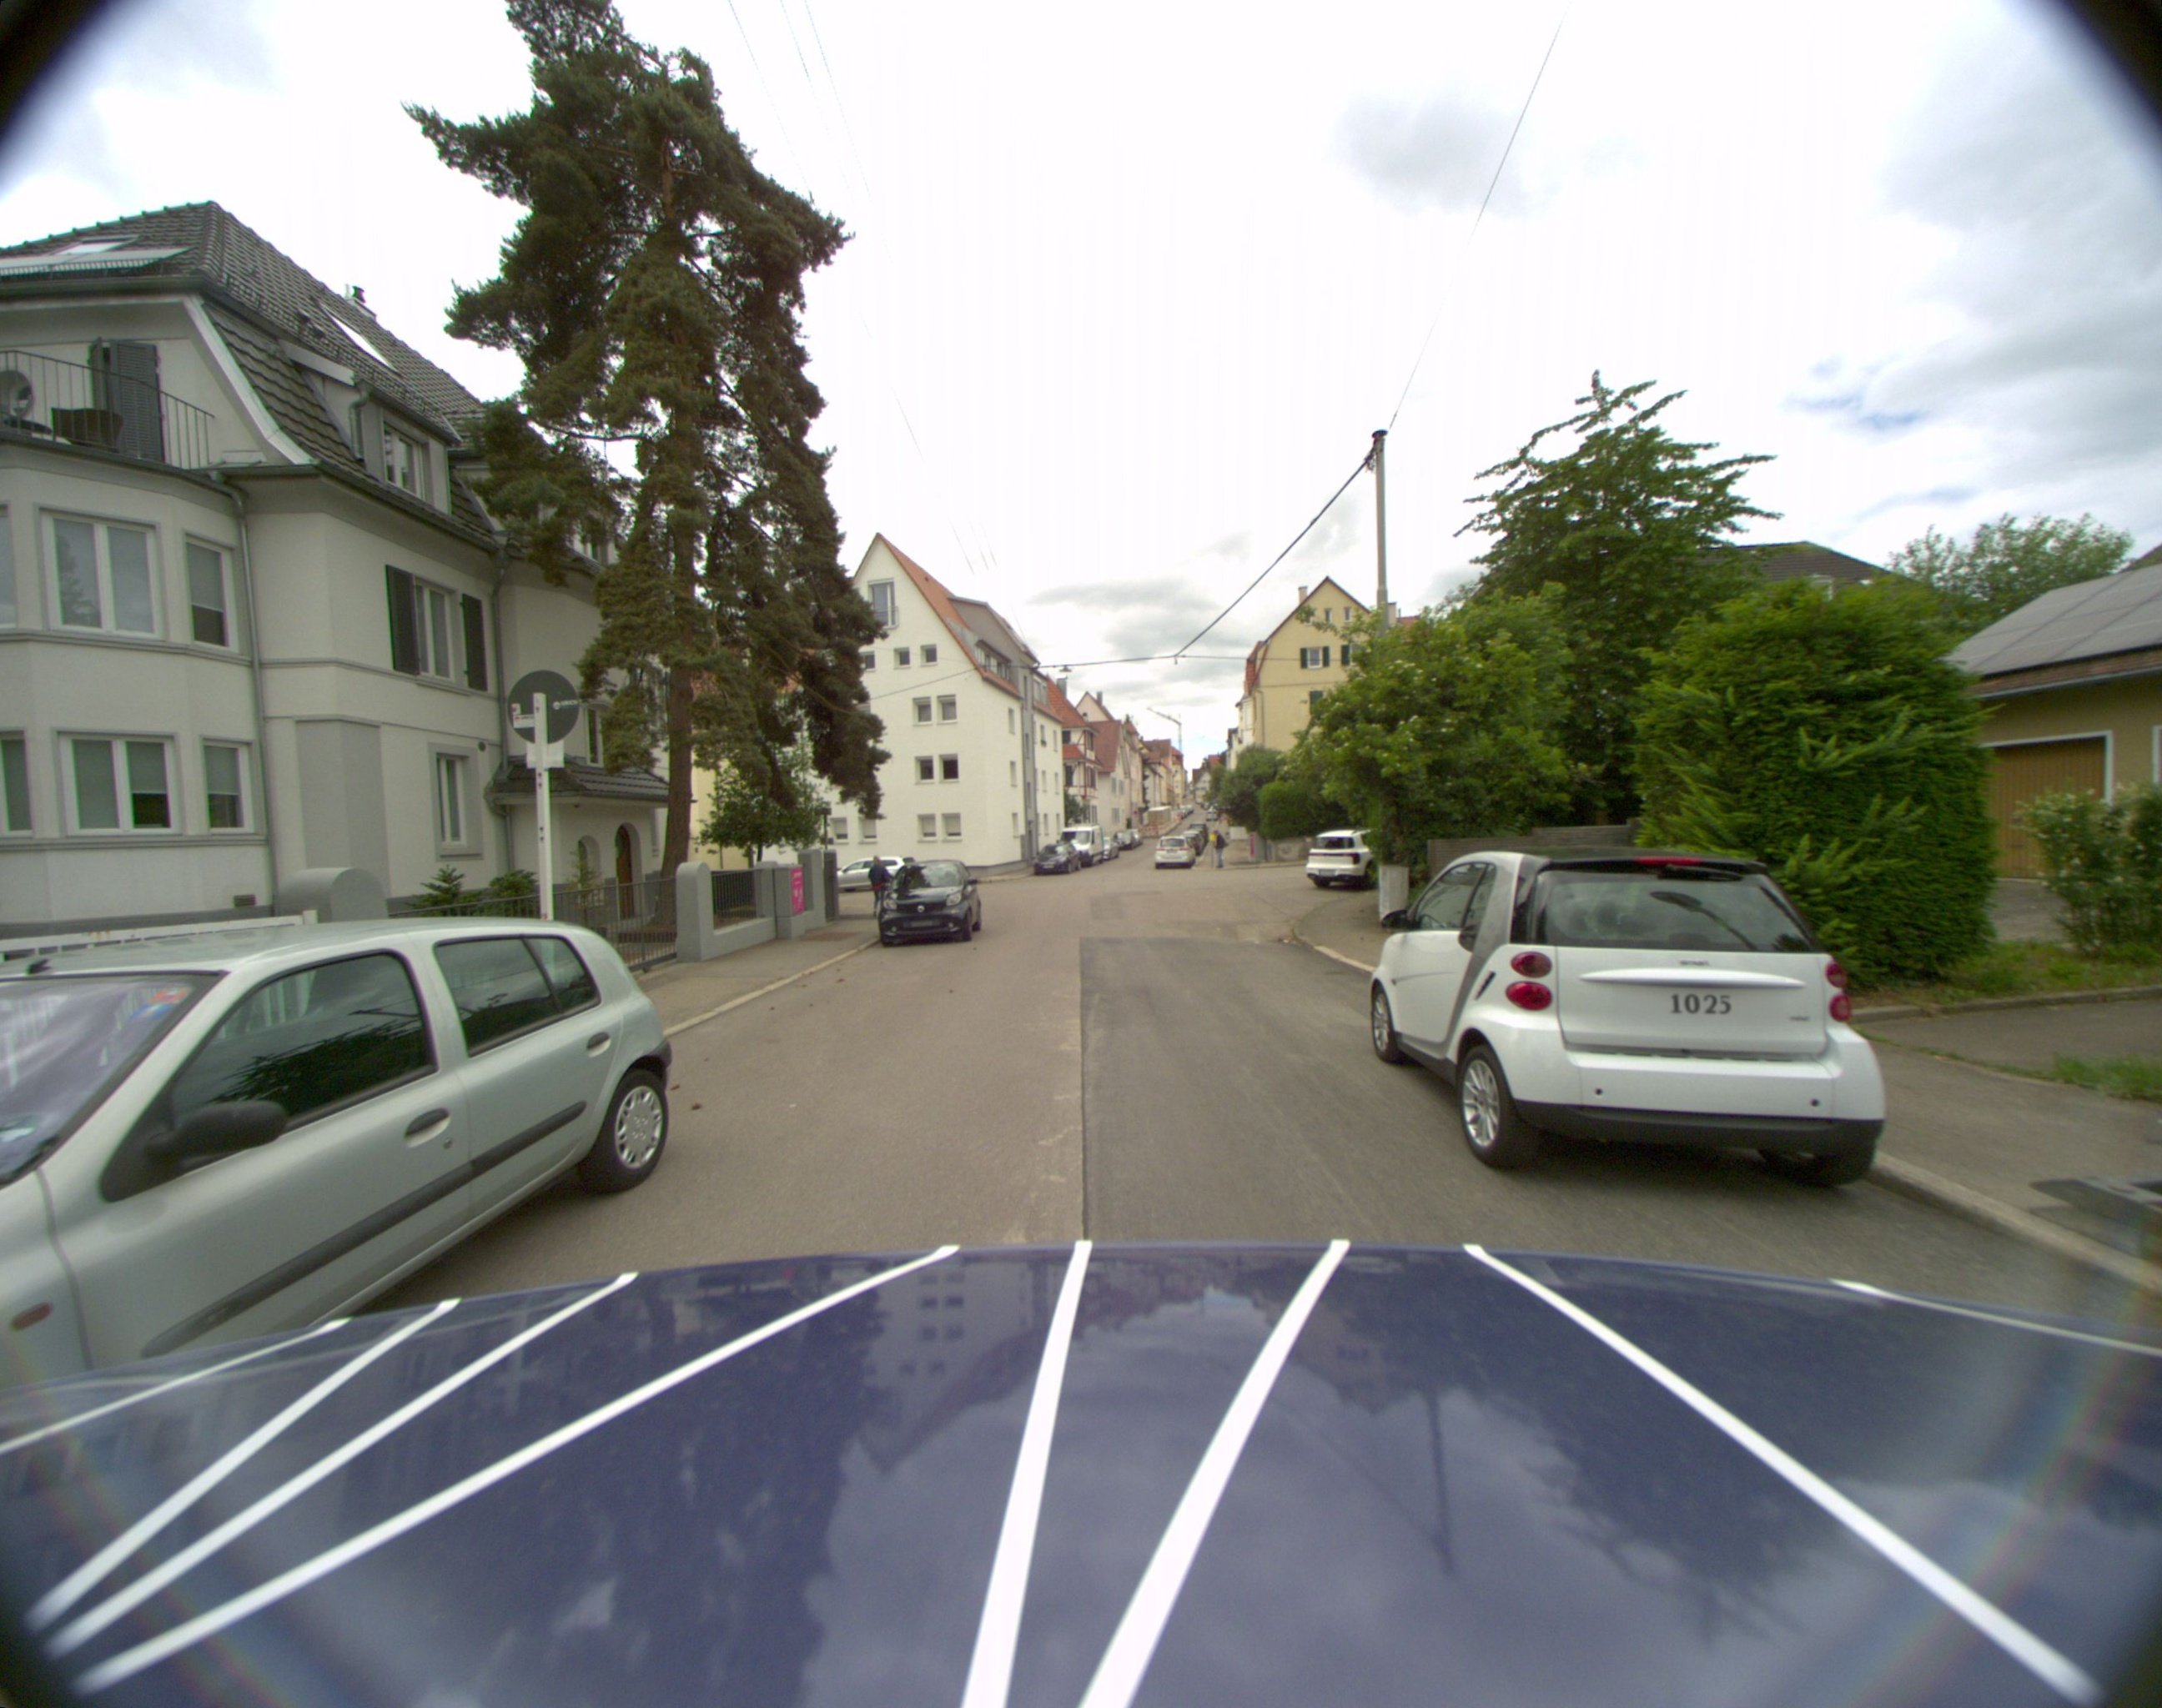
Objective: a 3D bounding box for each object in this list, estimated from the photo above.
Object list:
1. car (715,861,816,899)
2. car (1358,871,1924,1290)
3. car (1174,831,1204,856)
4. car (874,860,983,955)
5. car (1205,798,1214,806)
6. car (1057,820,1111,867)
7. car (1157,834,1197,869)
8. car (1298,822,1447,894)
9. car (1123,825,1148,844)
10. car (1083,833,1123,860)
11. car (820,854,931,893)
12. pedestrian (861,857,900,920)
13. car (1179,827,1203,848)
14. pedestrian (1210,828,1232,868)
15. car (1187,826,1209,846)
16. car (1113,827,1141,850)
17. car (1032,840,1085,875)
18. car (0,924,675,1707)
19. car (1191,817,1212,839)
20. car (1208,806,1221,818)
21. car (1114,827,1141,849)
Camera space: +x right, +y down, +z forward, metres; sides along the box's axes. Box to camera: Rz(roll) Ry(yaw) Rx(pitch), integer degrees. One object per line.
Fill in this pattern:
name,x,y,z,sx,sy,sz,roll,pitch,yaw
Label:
car,-14.538,1.199,35.043,3.992,1.414,1.739,-3,1,16
car,2.715,0.923,4.425,1.445,1.543,2.771,1,0,7
car,7.576,-0.786,53.130,1.805,1.472,4.329,-1,4,11
car,-2.902,0.962,14.994,1.576,1.523,2.867,-5,1,-2
car,28.759,-11.721,169.871,1.781,1.559,4.000,-2,5,13
car,0.263,-0.686,44.772,1.997,2.409,5.294,-1,4,12
car,5.089,-0.171,39.795,1.807,1.650,4.153,-1,2,11
car,8.588,0.077,22.230,4.521,1.646,1.830,-6,3,-36
car,4.783,-1.694,66.169,1.628,1.385,4.236,-3,4,10
car,1.525,-0.518,50.468,1.827,1.437,4.384,-3,4,12
car,-9.066,0.874,33.620,4.352,1.441,1.765,-3,1,13
pedestrian,-5.188,0.883,19.720,0.682,1.568,0.906,0,3,6
car,8.516,-1.302,58.596,1.641,1.421,4.123,0,4,11
pedestrian,6.394,-0.266,34.730,0.821,1.750,0.644,-4,2,14
car,9.634,-1.503,62.554,1.641,1.391,3.704,-1,4,11
car,3.710,-1.301,61.327,1.780,1.711,4.001,-2,2,9
car,-1.088,0.135,38.779,1.821,1.478,4.288,-2,2,10
car,-2.998,1.124,2.192,1.578,1.392,3.655,-4,0,0
car,10.802,-2.340,68.065,1.752,1.788,4.148,-1,5,9
car,19.488,-6.191,110.929,1.661,1.559,4.000,-1,5,12
car,3.800,-1.301,61.262,1.608,1.482,4.023,-3,4,11
